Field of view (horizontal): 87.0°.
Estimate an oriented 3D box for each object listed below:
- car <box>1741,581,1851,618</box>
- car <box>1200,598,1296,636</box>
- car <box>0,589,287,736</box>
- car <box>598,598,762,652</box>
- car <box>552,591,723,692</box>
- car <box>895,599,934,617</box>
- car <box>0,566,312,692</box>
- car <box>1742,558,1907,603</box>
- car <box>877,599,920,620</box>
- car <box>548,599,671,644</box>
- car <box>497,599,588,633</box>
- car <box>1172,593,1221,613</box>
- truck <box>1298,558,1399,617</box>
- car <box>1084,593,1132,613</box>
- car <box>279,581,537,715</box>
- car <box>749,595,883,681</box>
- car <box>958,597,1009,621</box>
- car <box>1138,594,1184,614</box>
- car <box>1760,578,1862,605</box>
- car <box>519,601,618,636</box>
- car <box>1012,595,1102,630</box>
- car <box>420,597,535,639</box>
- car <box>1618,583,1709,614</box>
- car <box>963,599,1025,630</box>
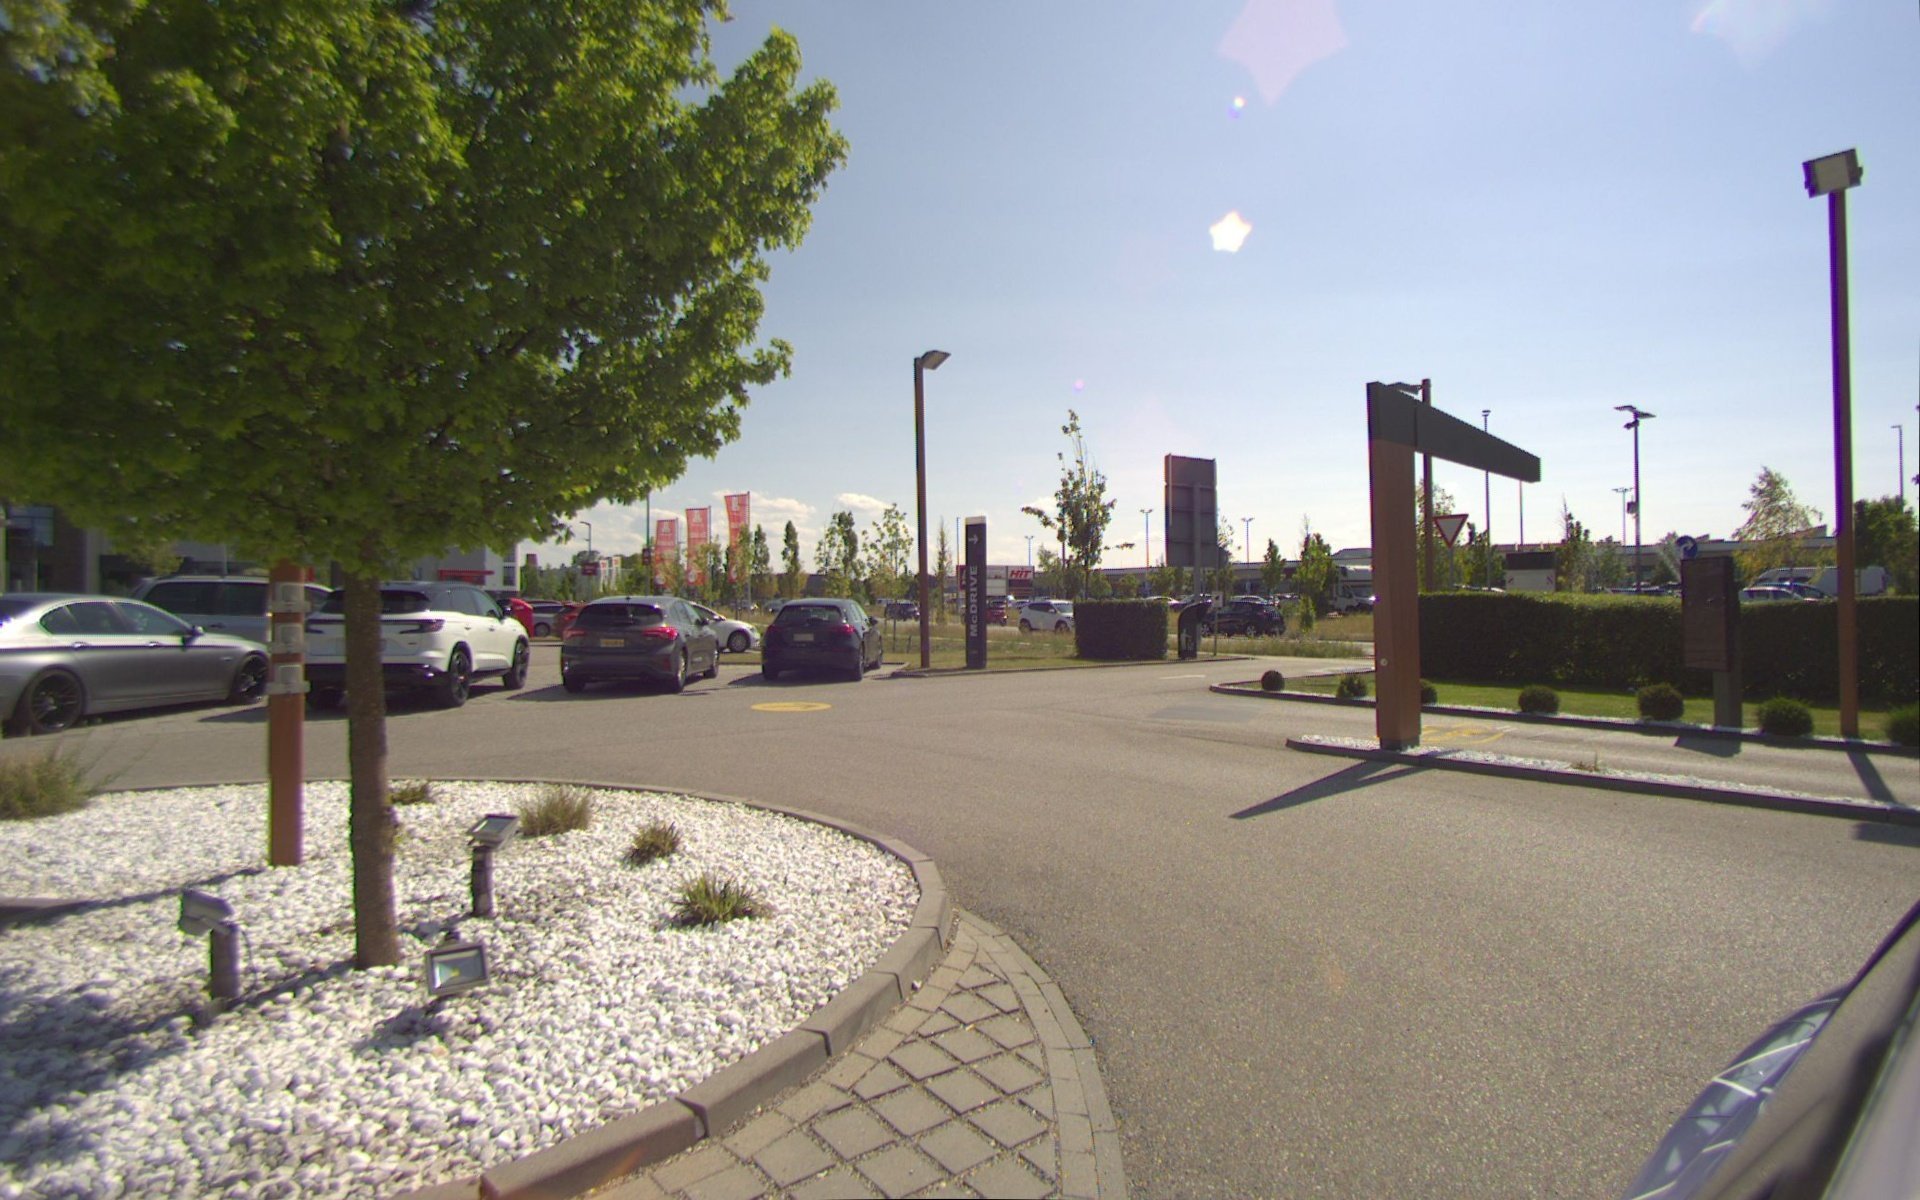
[{"bbox_3d":[40.751,-0.029,49.397,3.988,1.750,1.864,0,0,45],"label":"car"},{"bbox_3d":[12.563,0.715,44.301,1.767,1.579,3.775,0,0,-35],"label":"car"},{"bbox_3d":[-10.083,0.606,11.522,1.680,1.429,4.680,0,0,1],"label":"car"},{"bbox_3d":[-7.843,0.649,28.475,4.075,1.416,1.889,0,0,-34],"label":"car"},{"bbox_3d":[-5.109,0.600,16.590,1.762,1.440,4.089,0,0,-4],"label":"car"},{"bbox_3d":[-3.787,0.672,84.244,1.725,1.482,4.005,0,0,-28],"label":"car"},{"bbox_3d":[-12.948,0.404,16.022,4.291,1.772,2.069,0,0,-41],"label":"car"},{"bbox_3d":[46.637,-0.977,54.766,2.261,2.273,6.559,0,0,-42],"label":"car"},{"bbox_3d":[-4.671,0.691,76.167,1.725,1.482,4.005,0,0,-28],"label":"car"},{"bbox_3d":[-11.981,0.695,34.675,3.683,1.472,1.688,0,0,-34],"label":"car"},{"bbox_3d":[-19.645,0.727,47.640,3.683,1.531,1.688,0,0,-34],"label":"car"},{"bbox_3d":[17.279,0.219,73.919,3.153,1.402,1.544,0,0,-14],"label":"car"},{"bbox_3d":[23.787,-0.763,62.432,2.373,3.394,7.577,0,0,-8],"label":"truck"},{"bbox_3d":[13.284,0.290,90.892,3.917,1.794,1.850,0,0,-10],"label":"car"},{"bbox_3d":[-7.388,0.564,14.042,1.770,1.576,4.060,0,0,-7],"label":"car"},{"bbox_3d":[-2.569,0.639,18.909,1.878,1.440,3.773,0,0,2],"label":"car"},{"bbox_3d":[1.440,0.549,63.671,1.602,1.462,3.580,0,0,-30],"label":"car"},{"bbox_3d":[15.738,0.308,79.216,3.153,1.576,1.544,0,0,-14],"label":"car"},{"bbox_3d":[44.386,-0.424,52.817,1.637,1.359,3.900,0,0,-42],"label":"car"},{"bbox_3d":[-16.784,0.762,43.418,3.683,1.472,1.688,0,0,-34],"label":"car"},{"bbox_3d":[4.195,0.531,44.322,1.701,1.440,4.326,0,0,-31],"label":"car"},{"bbox_3d":[-17.928,0.636,37.648,3.683,1.472,1.688,0,0,-34],"label":"car"},{"bbox_3d":[40.315,-0.089,58.029,4.169,1.750,1.897,0,0,-10],"label":"car"},{"bbox_3d":[1.796,0.769,54.158,1.536,1.616,3.449,0,0,-37],"label":"car"}]
